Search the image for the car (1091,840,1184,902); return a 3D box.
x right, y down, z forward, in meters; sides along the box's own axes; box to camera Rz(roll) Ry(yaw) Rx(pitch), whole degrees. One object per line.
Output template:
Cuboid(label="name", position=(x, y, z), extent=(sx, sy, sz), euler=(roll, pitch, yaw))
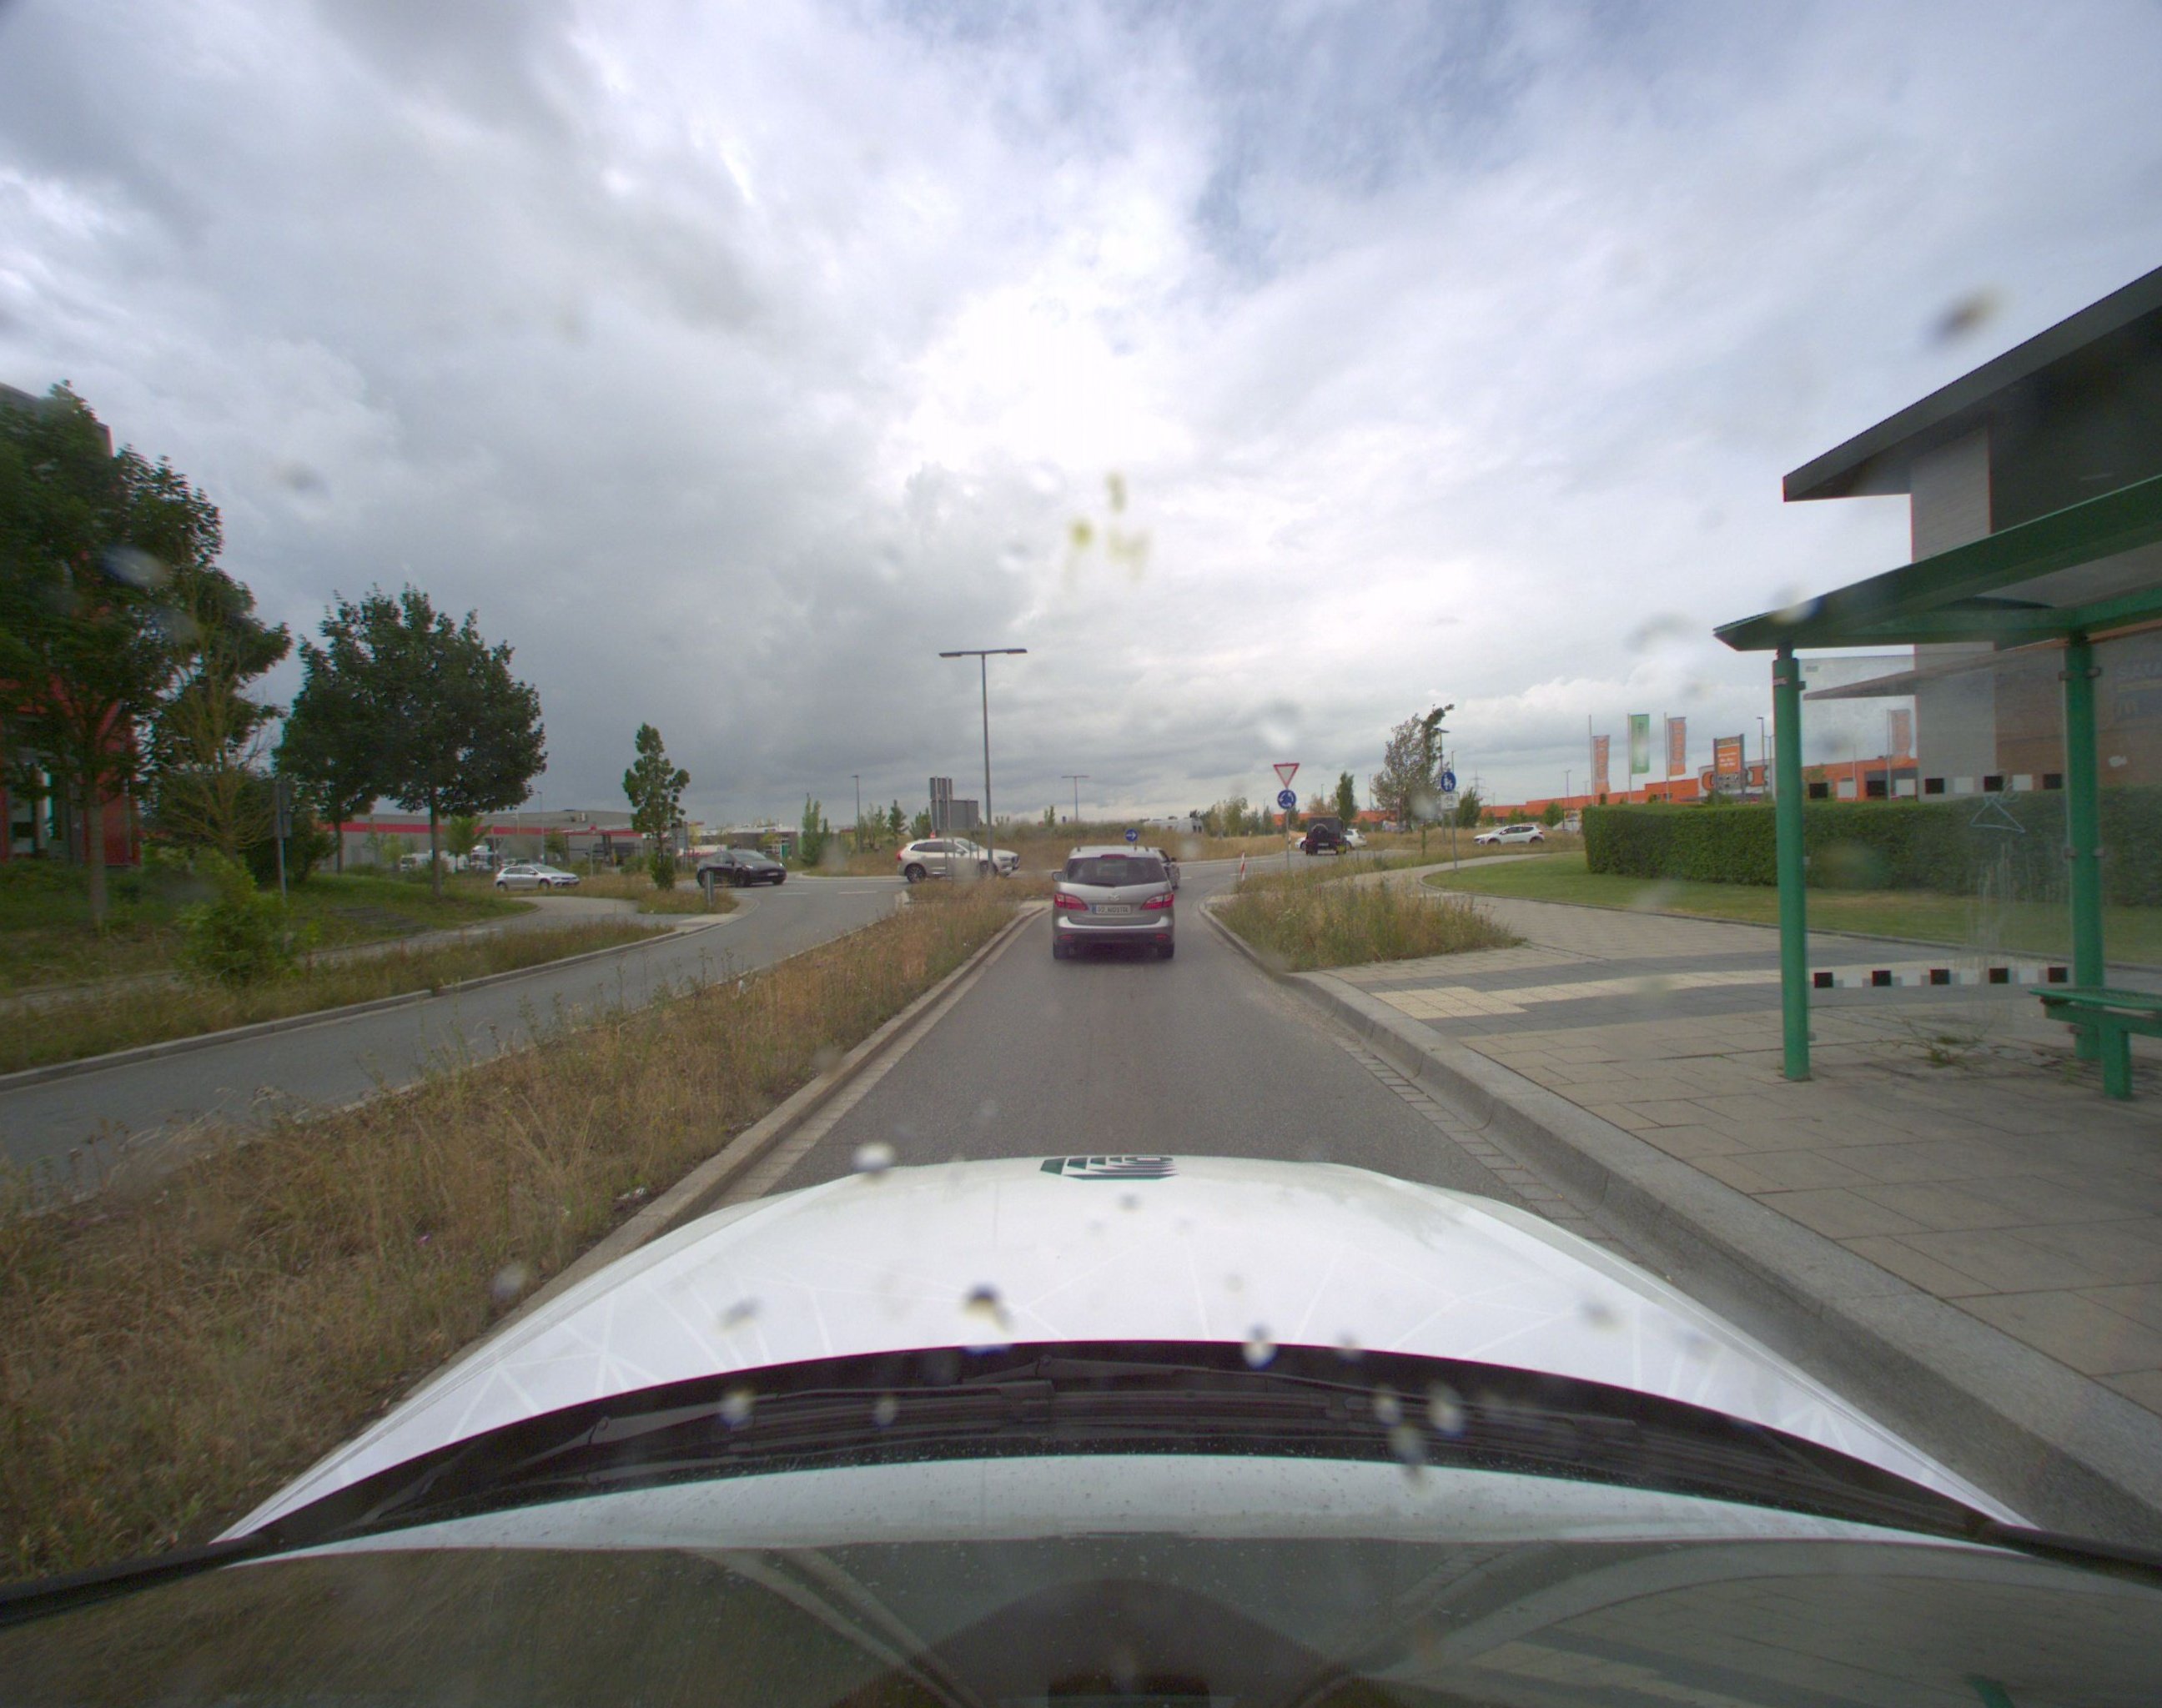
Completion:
Cuboid(label="car", position=(1.684, 0.395, 22.813), extent=(1.724, 1.403, 4.017), euler=(0, 3, 17))

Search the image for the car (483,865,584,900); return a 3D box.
Cuboid(label="car", position=(-27.972, 1.422, 41.686), extent=(3.966, 1.464, 1.817), euler=(-3, 1, 7))

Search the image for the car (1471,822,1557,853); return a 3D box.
Cuboid(label="car", position=(27.014, -1.048, 50.895), extent=(4.307, 1.648, 1.873), euler=(-3, 2, 4))

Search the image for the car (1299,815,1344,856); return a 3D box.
Cuboid(label="car", position=(12.686, -1.038, 42.782), extent=(2.061, 1.886, 4.798), euler=(-2, 3, 18))

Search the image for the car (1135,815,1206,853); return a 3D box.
Cuboid(label="car", position=(6.655, -1.475, 60.549), extent=(4.712, 2.543, 2.098), euler=(-1, 3, 35))

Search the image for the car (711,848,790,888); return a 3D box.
Cuboid(label="car", position=(-14.496, 0.568, 35.602), extent=(1.954, 1.498, 4.721), euler=(-5, 3, -37))

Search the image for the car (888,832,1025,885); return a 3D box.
Cuboid(label="car", position=(-4.739, 0.147, 31.212), extent=(4.724, 1.738, 1.952), euler=(-2, 3, 14))

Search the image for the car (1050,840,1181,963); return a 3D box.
Cuboid(label="car", position=(0.506, 0.596, 12.839), extent=(1.732, 1.598, 3.999), euler=(0, 1, 1))

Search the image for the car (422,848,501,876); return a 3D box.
Cuboid(label="car", position=(-65.308, 0.823, 86.160), extent=(2.455, 2.820, 7.688), euler=(0, 0, 0))

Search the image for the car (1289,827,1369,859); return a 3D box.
Cuboid(label="car", position=(16.357, -0.702, 53.751), extent=(4.714, 1.886, 2.098), euler=(-2, 3, 28))
